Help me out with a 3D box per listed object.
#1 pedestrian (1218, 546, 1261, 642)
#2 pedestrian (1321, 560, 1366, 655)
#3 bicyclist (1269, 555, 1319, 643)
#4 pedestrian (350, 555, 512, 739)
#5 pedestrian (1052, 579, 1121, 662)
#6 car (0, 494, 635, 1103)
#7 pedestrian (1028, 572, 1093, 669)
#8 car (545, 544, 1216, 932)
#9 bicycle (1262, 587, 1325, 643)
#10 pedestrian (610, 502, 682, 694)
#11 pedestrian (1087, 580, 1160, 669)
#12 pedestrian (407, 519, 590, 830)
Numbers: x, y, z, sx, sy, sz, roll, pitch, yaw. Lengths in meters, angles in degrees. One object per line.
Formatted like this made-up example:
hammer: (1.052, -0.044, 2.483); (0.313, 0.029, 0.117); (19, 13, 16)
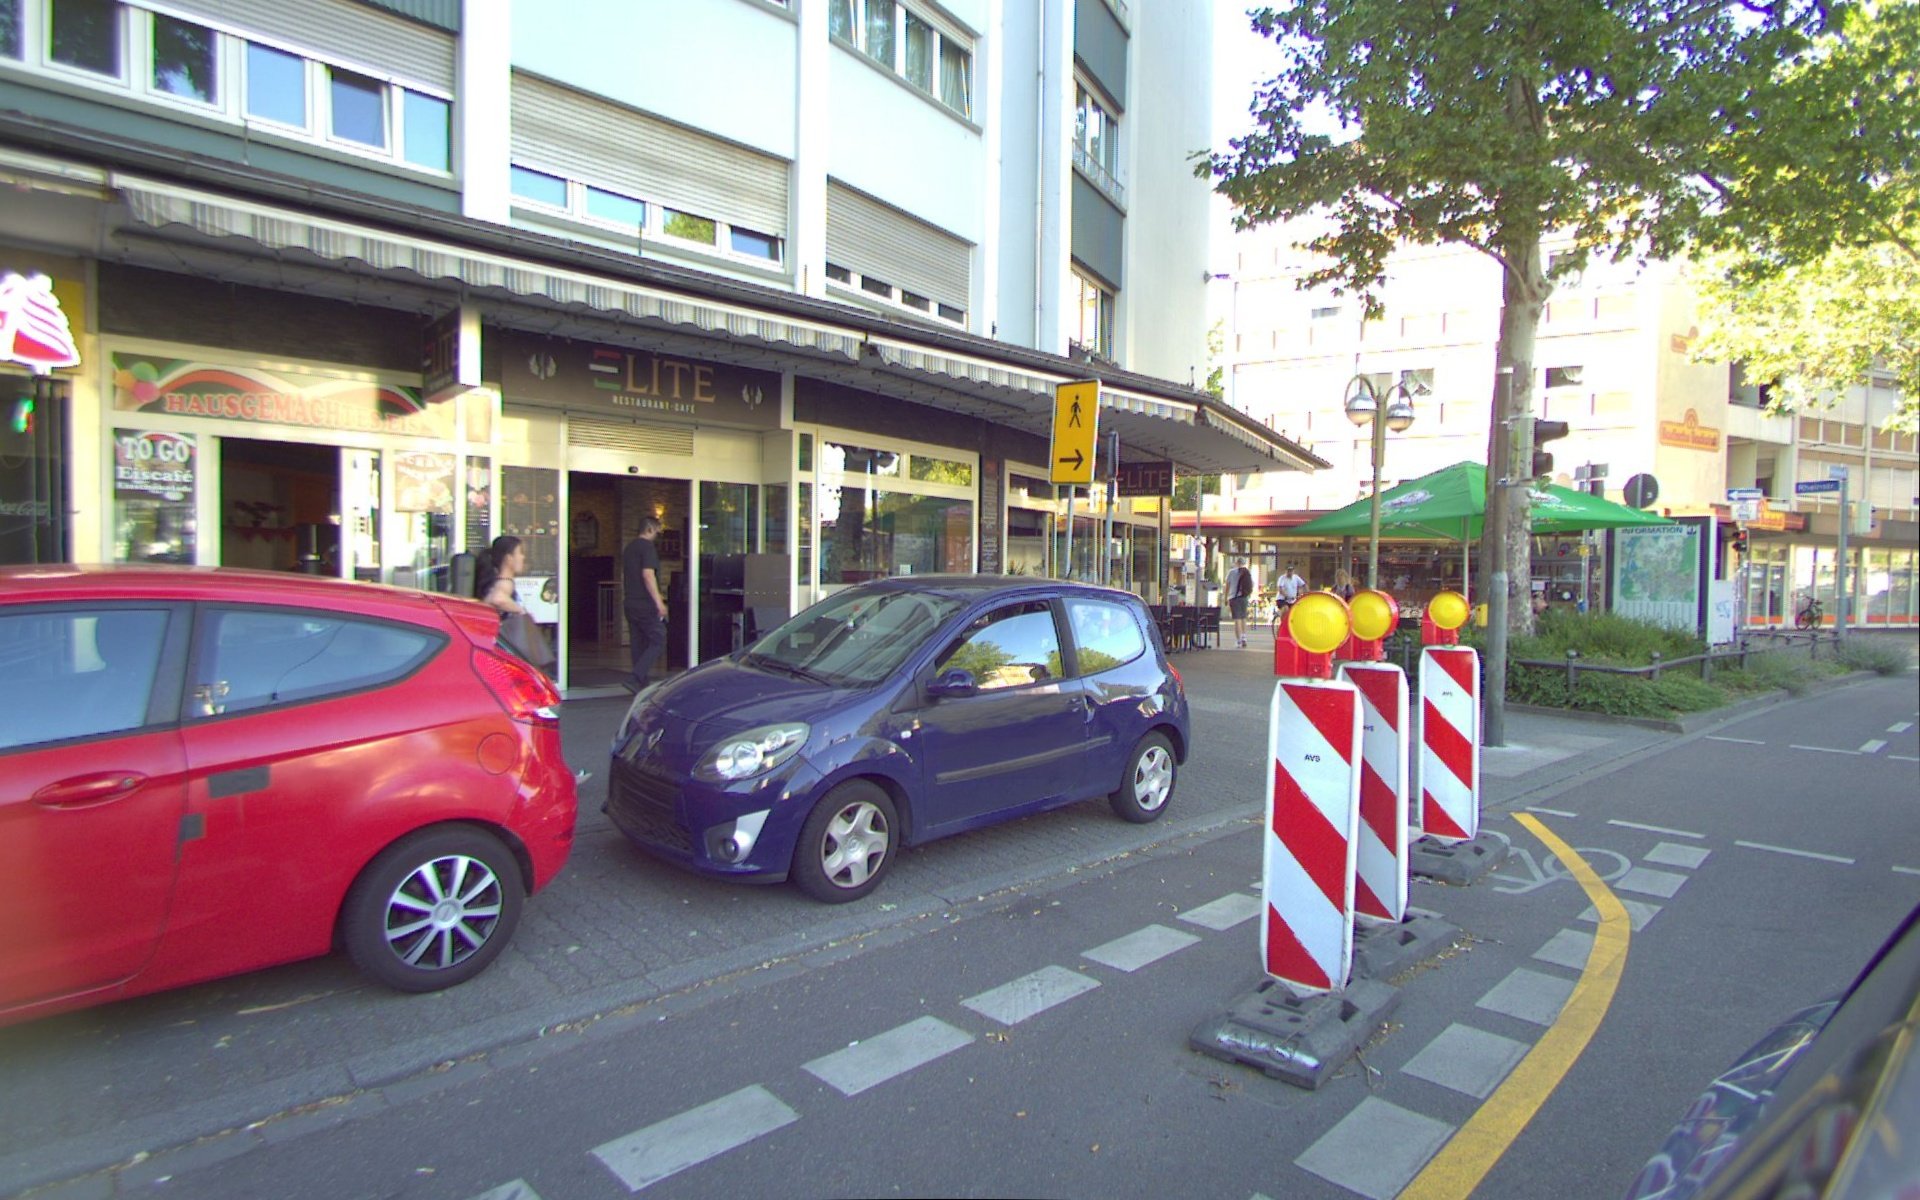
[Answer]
pedestrian: (5.928, -0.140, 21.439); (0.643, 1.983, 0.880); (1, 1, 30)
pedestrian: (6.862, 0.126, 18.123); (0.624, 1.657, 0.525); (2, 1, 34)
bicyclist: (7.193, -0.030, 21.839); (0.739, 1.849, 0.926); (1, 1, 1)
pedestrian: (-4.272, 0.325, 8.155); (0.937, 1.352, 1.069); (0, 2, -41)
pedestrian: (1.899, 0.291, 15.206); (0.776, 1.207, 0.648); (0, 2, -34)
car: (-3.232, 0.470, 3.234); (3.761, 1.614, 1.784); (-1, 5, -45)
pedestrian: (1.407, 0.271, 14.290); (0.685, 1.323, 0.793); (1, 1, -13)
car: (-0.286, 0.503, 5.908); (3.551, 1.485, 1.769); (-1, 5, -44)
bicycle: (7.189, 0.318, 21.906); (0.738, 1.144, 1.886); (1, 0, 1)
pedestrian: (-3.053, -0.035, 9.843); (0.547, 1.800, 0.395); (-1, 4, -43)
pedestrian: (2.331, 0.331, 14.485); (0.685, 1.207, 0.881); (0, 1, -18)
pedestrian: (-2.673, 0.376, 5.877); (0.783, 1.666, 0.583); (-3, 3, -42)
